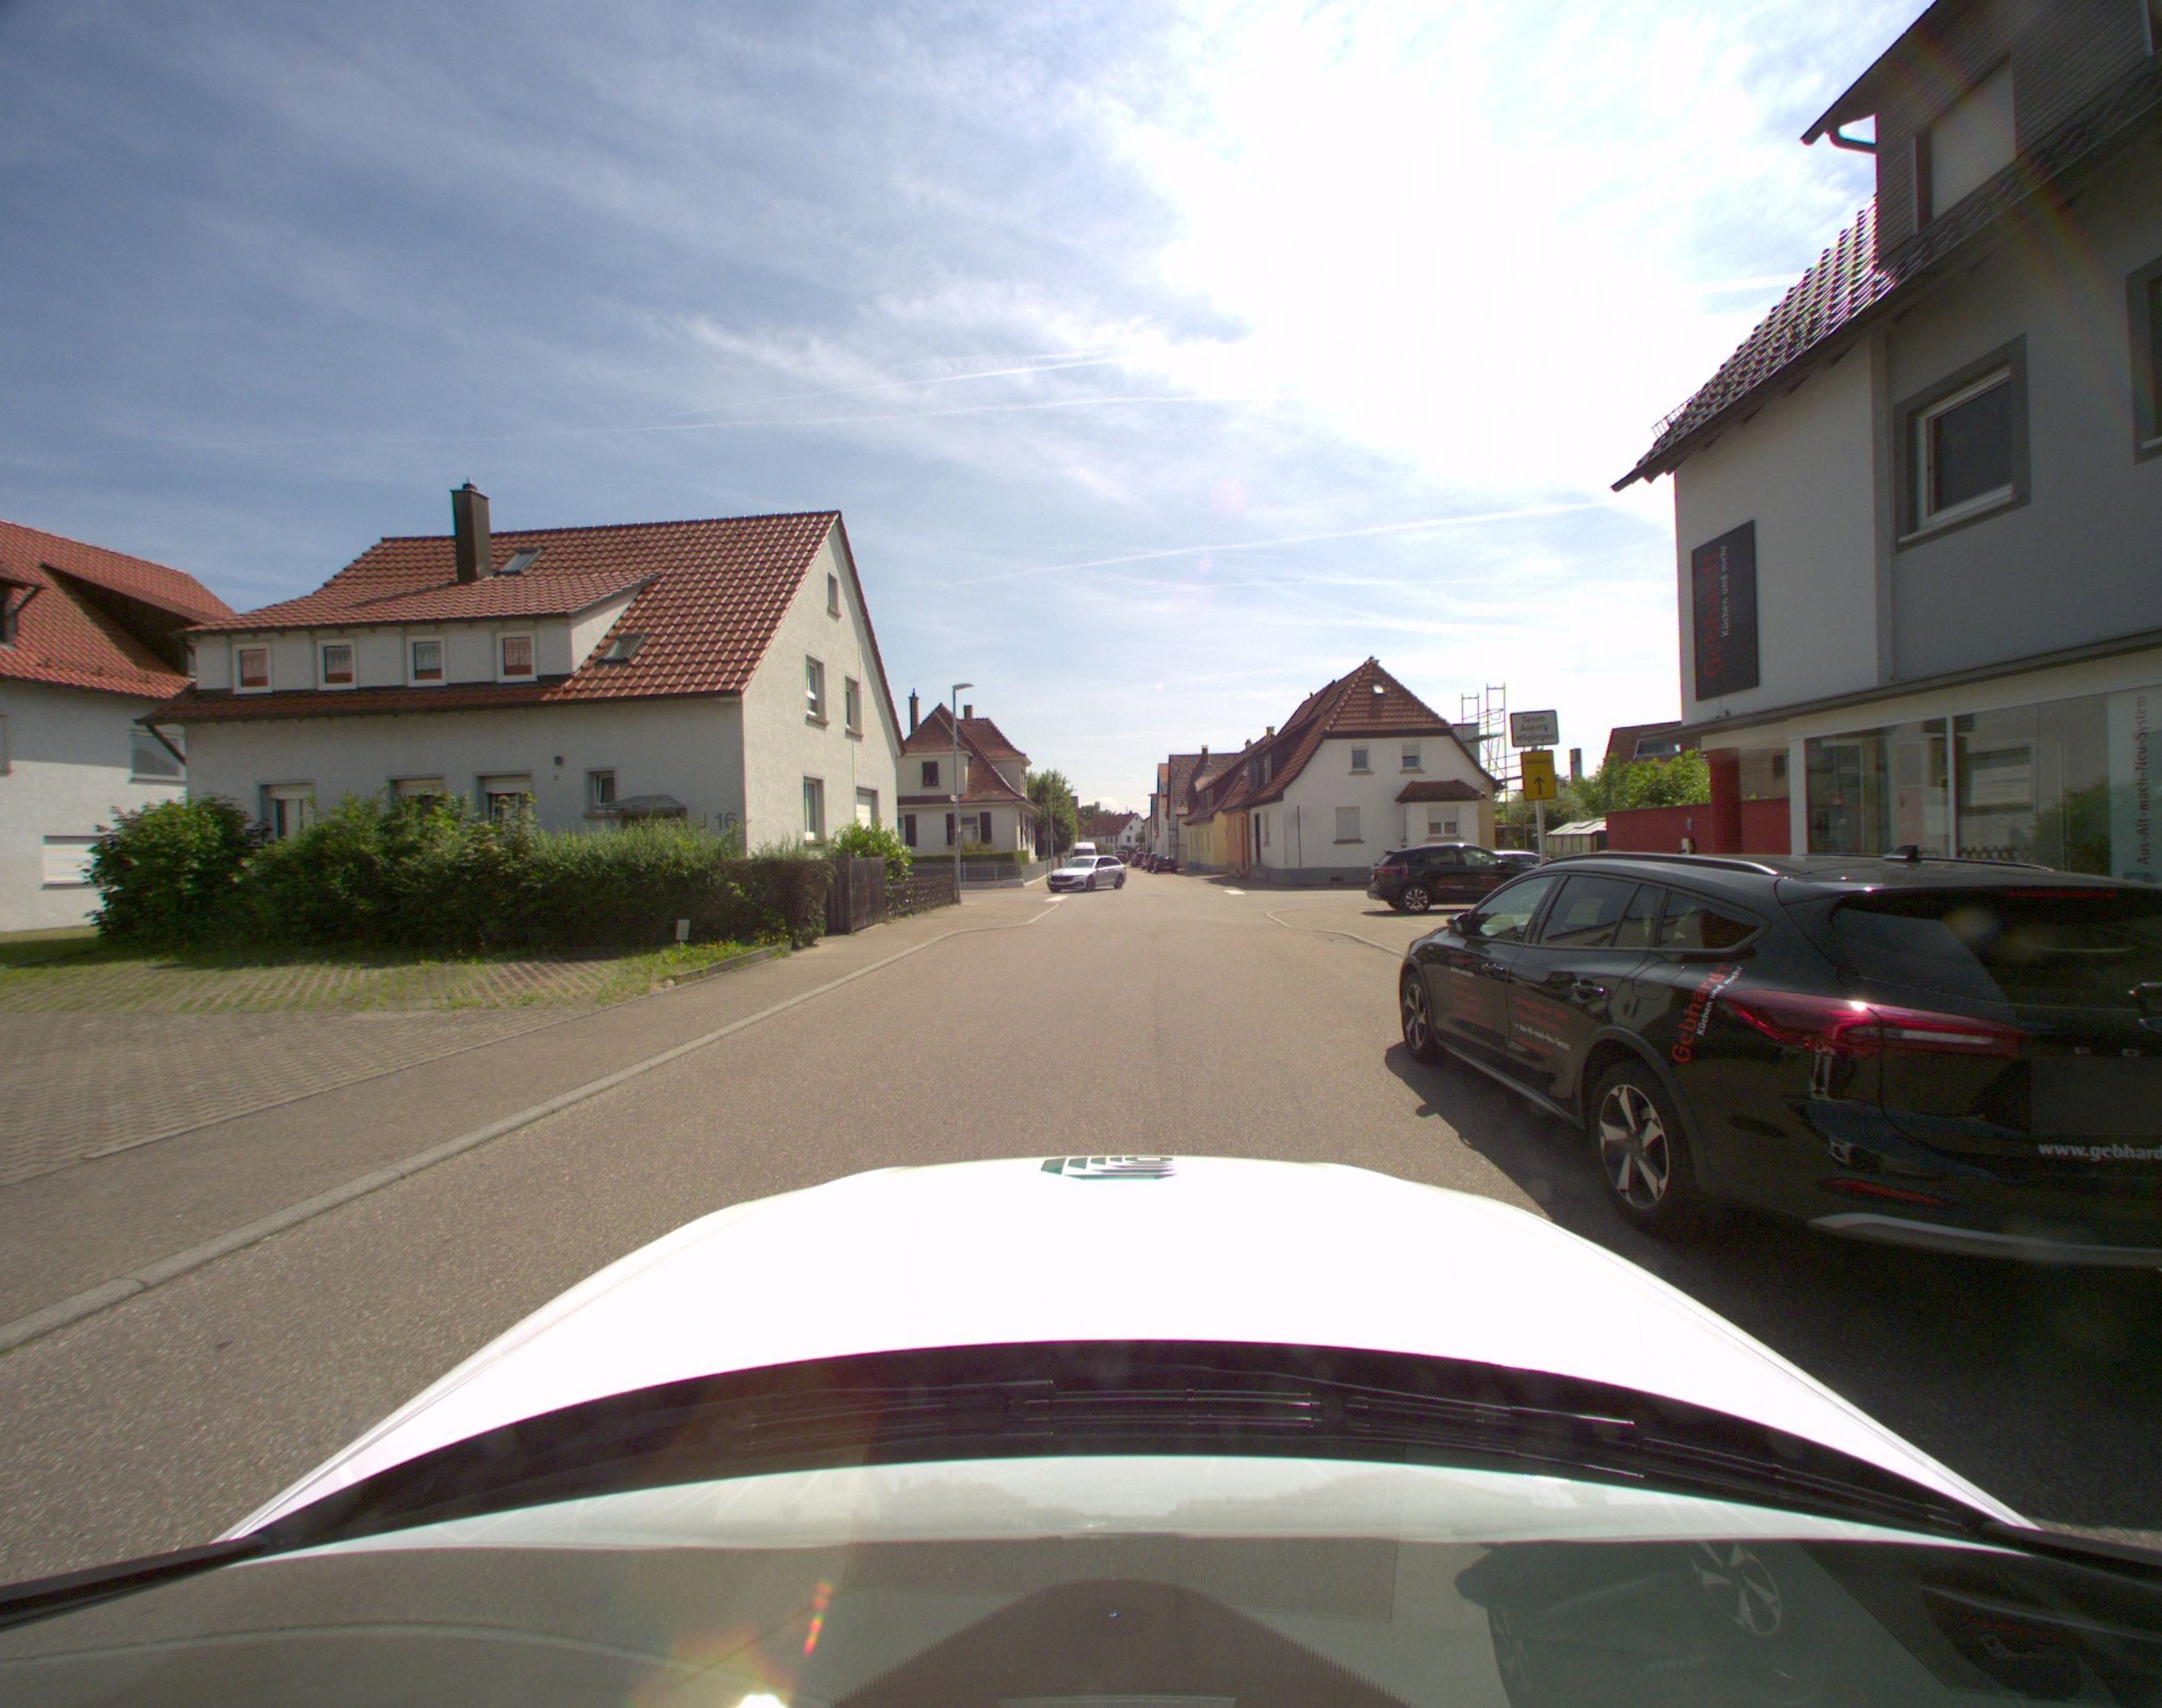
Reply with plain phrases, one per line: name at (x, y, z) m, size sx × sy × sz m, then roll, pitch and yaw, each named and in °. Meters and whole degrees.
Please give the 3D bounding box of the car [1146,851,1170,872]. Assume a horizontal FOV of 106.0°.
car at (6.312, 0.592, 67.214) m, size 1.722 × 1.600 × 4.255 m, roll -1°, pitch 0°, yaw 2°

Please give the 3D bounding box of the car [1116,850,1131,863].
car at (7.259, 0.415, 139.491) m, size 2.117 × 2.158 × 4.746 m, roll -2°, pitch 0°, yaw 7°

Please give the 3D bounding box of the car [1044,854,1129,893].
car at (0.328, 0.768, 33.871) m, size 1.737 × 1.438 × 4.614 m, roll -1°, pitch 0°, yaw 25°

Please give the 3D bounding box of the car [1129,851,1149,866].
car at (6.662, 0.516, 94.082) m, size 1.870 × 1.700 × 4.181 m, roll -1°, pitch 0°, yaw -1°

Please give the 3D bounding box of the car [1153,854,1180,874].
car at (6.394, 0.744, 61.432) m, size 1.606 × 1.431 × 3.752 m, roll -1°, pitch 0°, yaw -1°

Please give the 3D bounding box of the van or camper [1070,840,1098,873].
van or camper at (0.288, 0.189, 67.031) m, size 2.177 × 2.571 × 6.808 m, roll -1°, pitch 0°, yaw 1°

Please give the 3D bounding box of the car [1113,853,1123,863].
car at (5.841, 0.613, 129.081) m, size 1.509 × 1.624 × 3.188 m, roll -1°, pitch 0°, yaw 5°

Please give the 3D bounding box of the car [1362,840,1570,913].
car at (9.315, 0.532, 20.018) m, size 4.268 × 1.653 × 1.853 m, roll -1°, pitch 0°, yaw 9°

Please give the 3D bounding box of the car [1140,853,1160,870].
car at (6.659, 0.687, 79.152) m, size 1.668 × 1.559 × 3.039 m, roll -1°, pitch 0°, yaw -1°

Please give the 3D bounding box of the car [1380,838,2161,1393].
car at (3.158, 0.716, 4.439) m, size 1.753 × 1.527 × 4.411 m, roll 0°, pitch 0°, yaw 4°

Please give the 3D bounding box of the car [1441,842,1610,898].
car at (12.751, 0.460, 23.592) m, size 3.963 × 1.504 × 1.699 m, roll -1°, pitch 0°, yaw 9°

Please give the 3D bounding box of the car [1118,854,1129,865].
car at (6.564, 0.854, 125.336) m, size 1.509 × 1.567 × 3.188 m, roll -1°, pitch 0°, yaw 5°
